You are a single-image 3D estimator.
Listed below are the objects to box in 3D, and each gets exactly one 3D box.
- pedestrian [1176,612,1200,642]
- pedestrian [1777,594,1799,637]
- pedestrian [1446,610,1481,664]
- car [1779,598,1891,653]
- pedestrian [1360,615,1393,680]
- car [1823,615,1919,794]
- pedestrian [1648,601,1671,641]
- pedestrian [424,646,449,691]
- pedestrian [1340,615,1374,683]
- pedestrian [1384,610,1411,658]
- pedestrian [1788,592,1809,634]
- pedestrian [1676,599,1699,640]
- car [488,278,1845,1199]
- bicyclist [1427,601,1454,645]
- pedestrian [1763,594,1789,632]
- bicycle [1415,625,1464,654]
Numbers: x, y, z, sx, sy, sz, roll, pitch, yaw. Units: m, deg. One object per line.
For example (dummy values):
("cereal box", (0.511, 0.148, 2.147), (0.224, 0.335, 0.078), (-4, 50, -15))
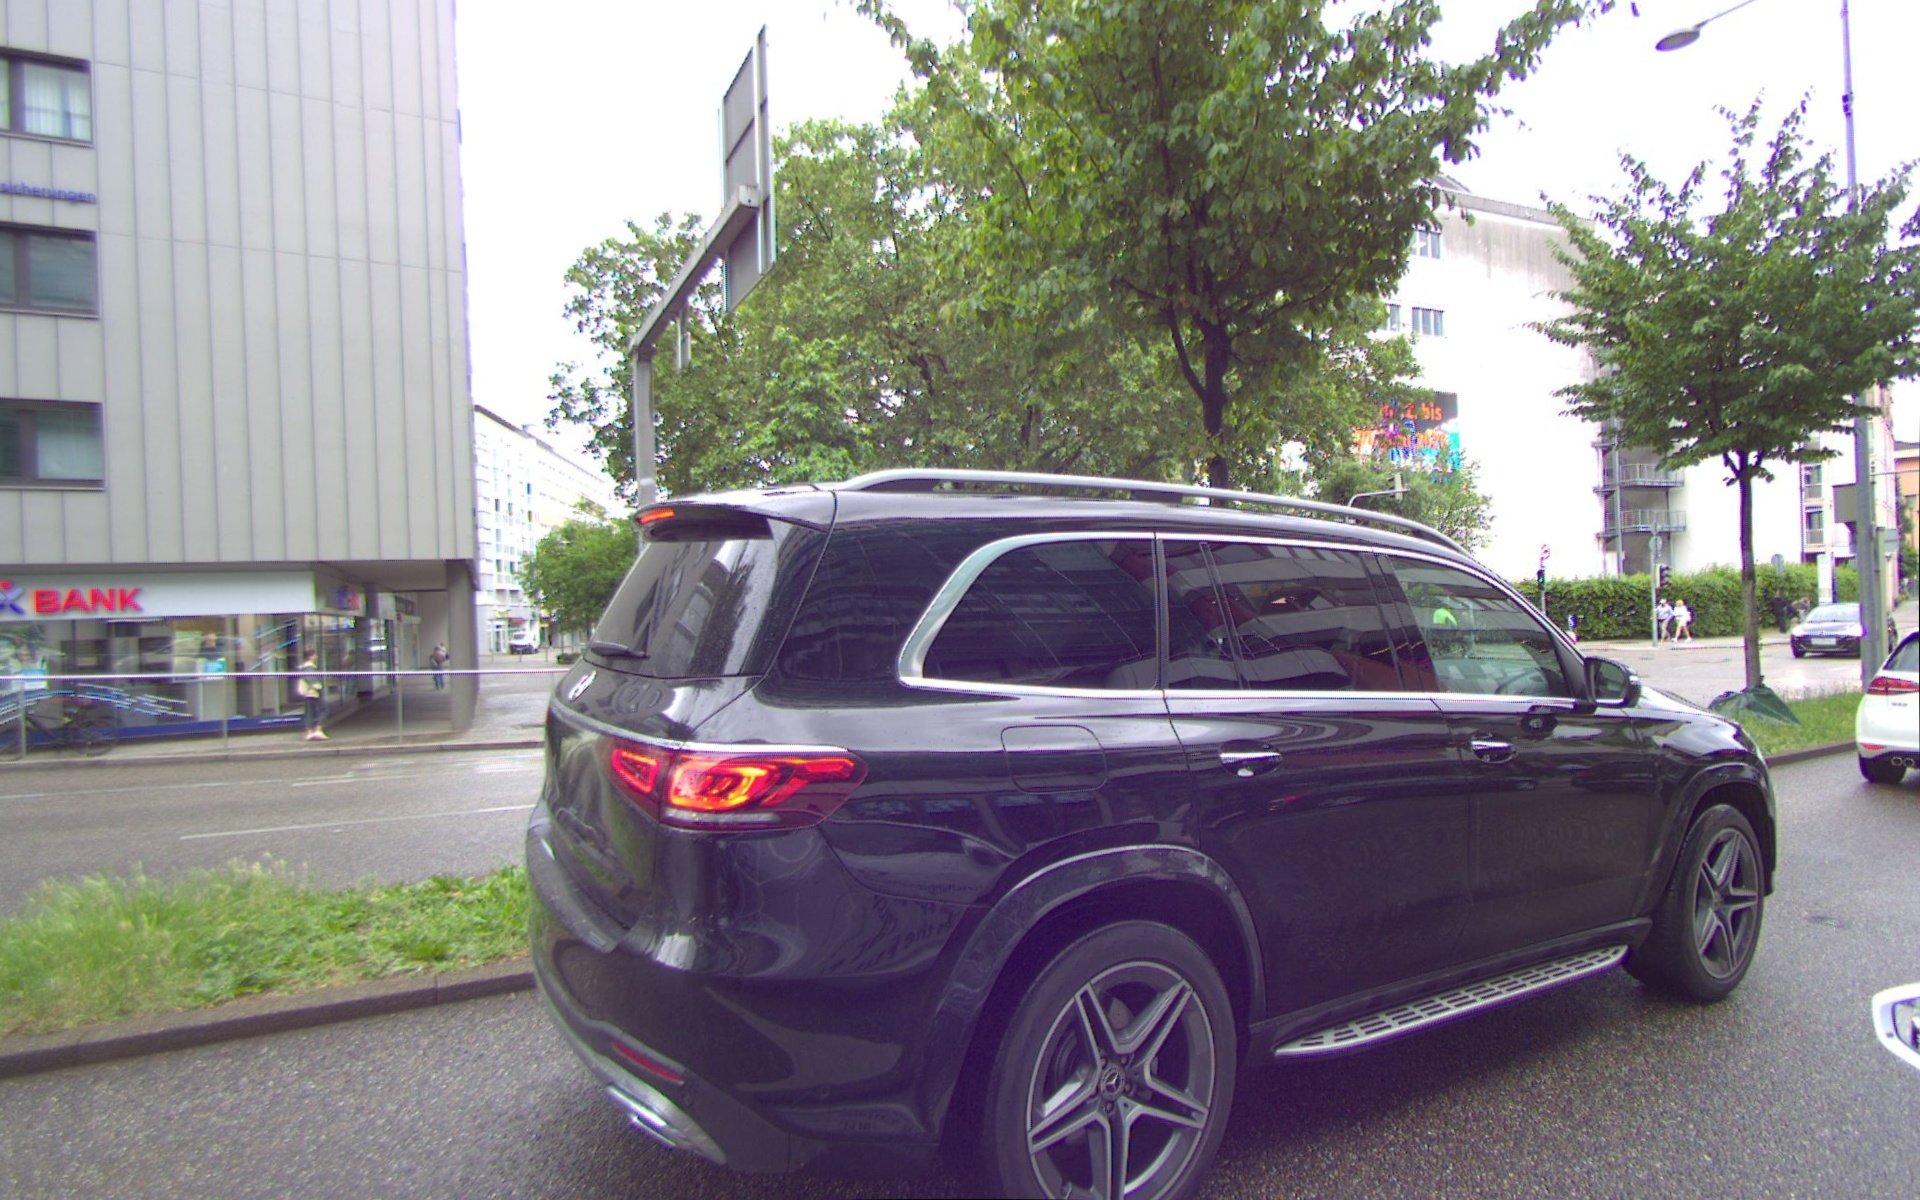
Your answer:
("pedestrian", (12.704, 1.502, 55.990), (0.677, 1.599, 1.055), (2, -1, -34))
("pedestrian", (34.689, 0.658, 42.089), (0.741, 1.771, 0.535), (2, -1, -38))
("pedestrian", (15.984, 1.164, 31.906), (0.620, 1.684, 0.749), (-2, 0, -30))
("car", (25.604, 0.691, 29.369), (3.571, 1.506, 1.565), (0, 1, -33))
("pedestrian", (10.934, 1.235, 26.367), (0.572, 1.684, 0.554), (-2, 0, -30))
("car", (9.561, 0.873, 8.978), (3.799, 1.448, 1.768), (0, 0, -32))
("pedestrian", (28.416, 0.849, 40.798), (0.522, 1.620, 0.576), (2, -1, -36))
("pedestrian", (-20.346, 2.655, 39.009), (0.719, 1.719, 0.782), (2, -3, -37))
("pedestrian", (10.108, 1.228, 25.567), (0.572, 1.684, 0.554), (-2, 0, -30))
("pedestrian", (15.447, 1.195, 35.455), (0.572, 1.689, 0.636), (-2, 0, -30))
("pedestrian", (36.043, 0.542, 43.180), (0.559, 1.771, 0.535), (2, -1, -35))
("pedestrian", (29.013, 0.783, 40.051), (0.522, 1.620, 0.576), (2, -1, -36))
("car", (1.114, 0.512, 3.766), (5.016, 1.895, 1.901), (3, -1, -31))
("bicyclist", (17.179, 0.825, 35.895), (0.602, 1.550, 0.629), (2, -3, -30))
("pedestrian", (36.437, 0.598, 44.871), (0.724, 1.664, 0.635), (2, -1, -27))
("bicycle", (17.100, 1.411, 35.812), (1.918, 1.013, 0.612), (2, -3, -31))
